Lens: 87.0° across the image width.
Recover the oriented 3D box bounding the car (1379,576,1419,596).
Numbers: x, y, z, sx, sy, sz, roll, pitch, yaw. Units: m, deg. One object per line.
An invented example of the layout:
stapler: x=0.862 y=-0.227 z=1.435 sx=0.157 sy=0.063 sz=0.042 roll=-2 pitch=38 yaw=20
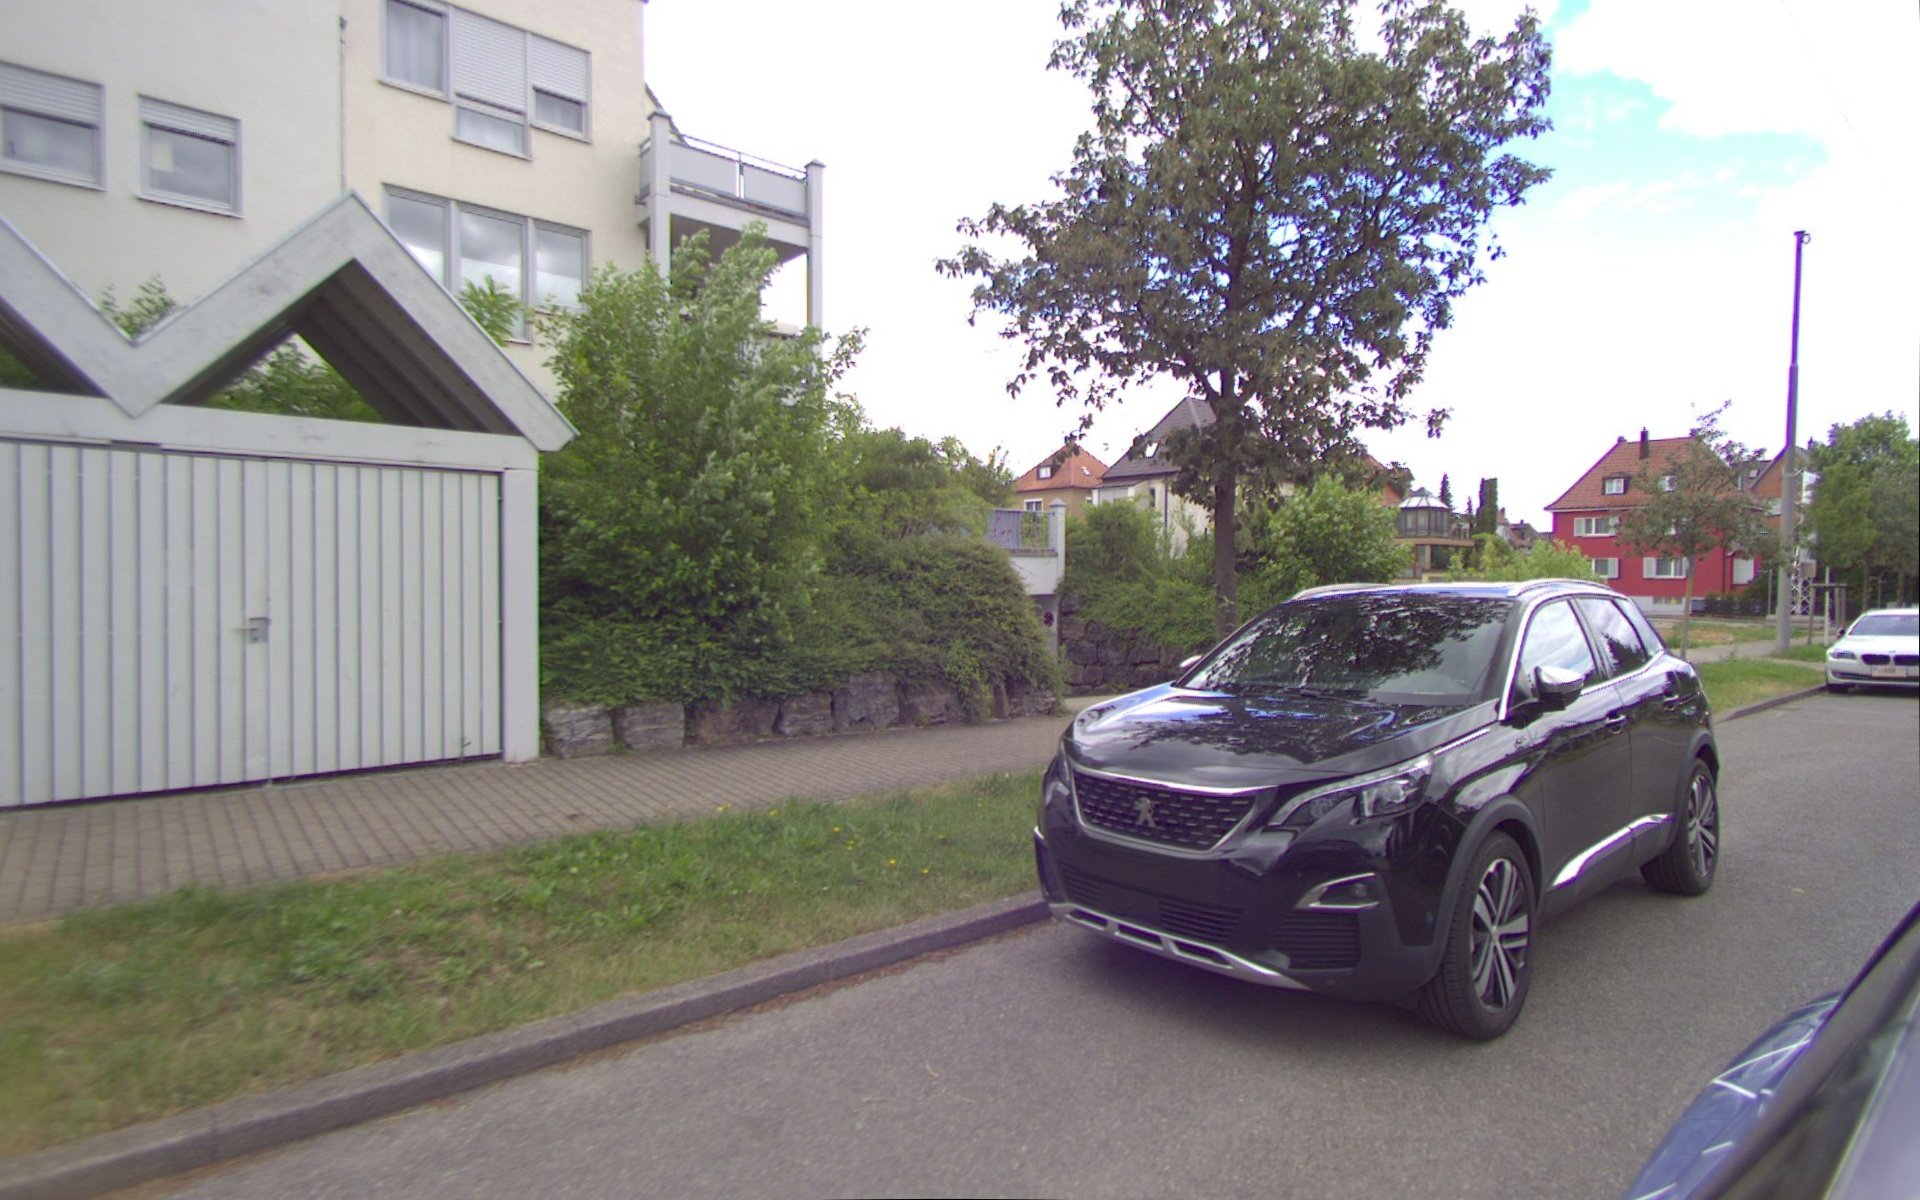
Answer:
car: x=33.882 y=-1.039 z=78.067 sx=3.442 sy=1.486 sz=1.619 roll=0 pitch=0 yaw=-43

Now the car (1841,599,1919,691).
car: x=17.027 y=0.731 z=17.812 sx=4.327 sy=1.472 sz=1.696 roll=0 pitch=-1 yaw=-41

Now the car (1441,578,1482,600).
car: x=36.856 y=-0.833 z=74.360 sx=3.442 sy=1.560 sz=1.619 roll=0 pitch=0 yaw=-43

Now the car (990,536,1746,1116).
car: x=2.197 y=0.630 z=4.829 sx=4.037 sy=1.629 sz=1.690 roll=0 pitch=-1 yaw=-41
